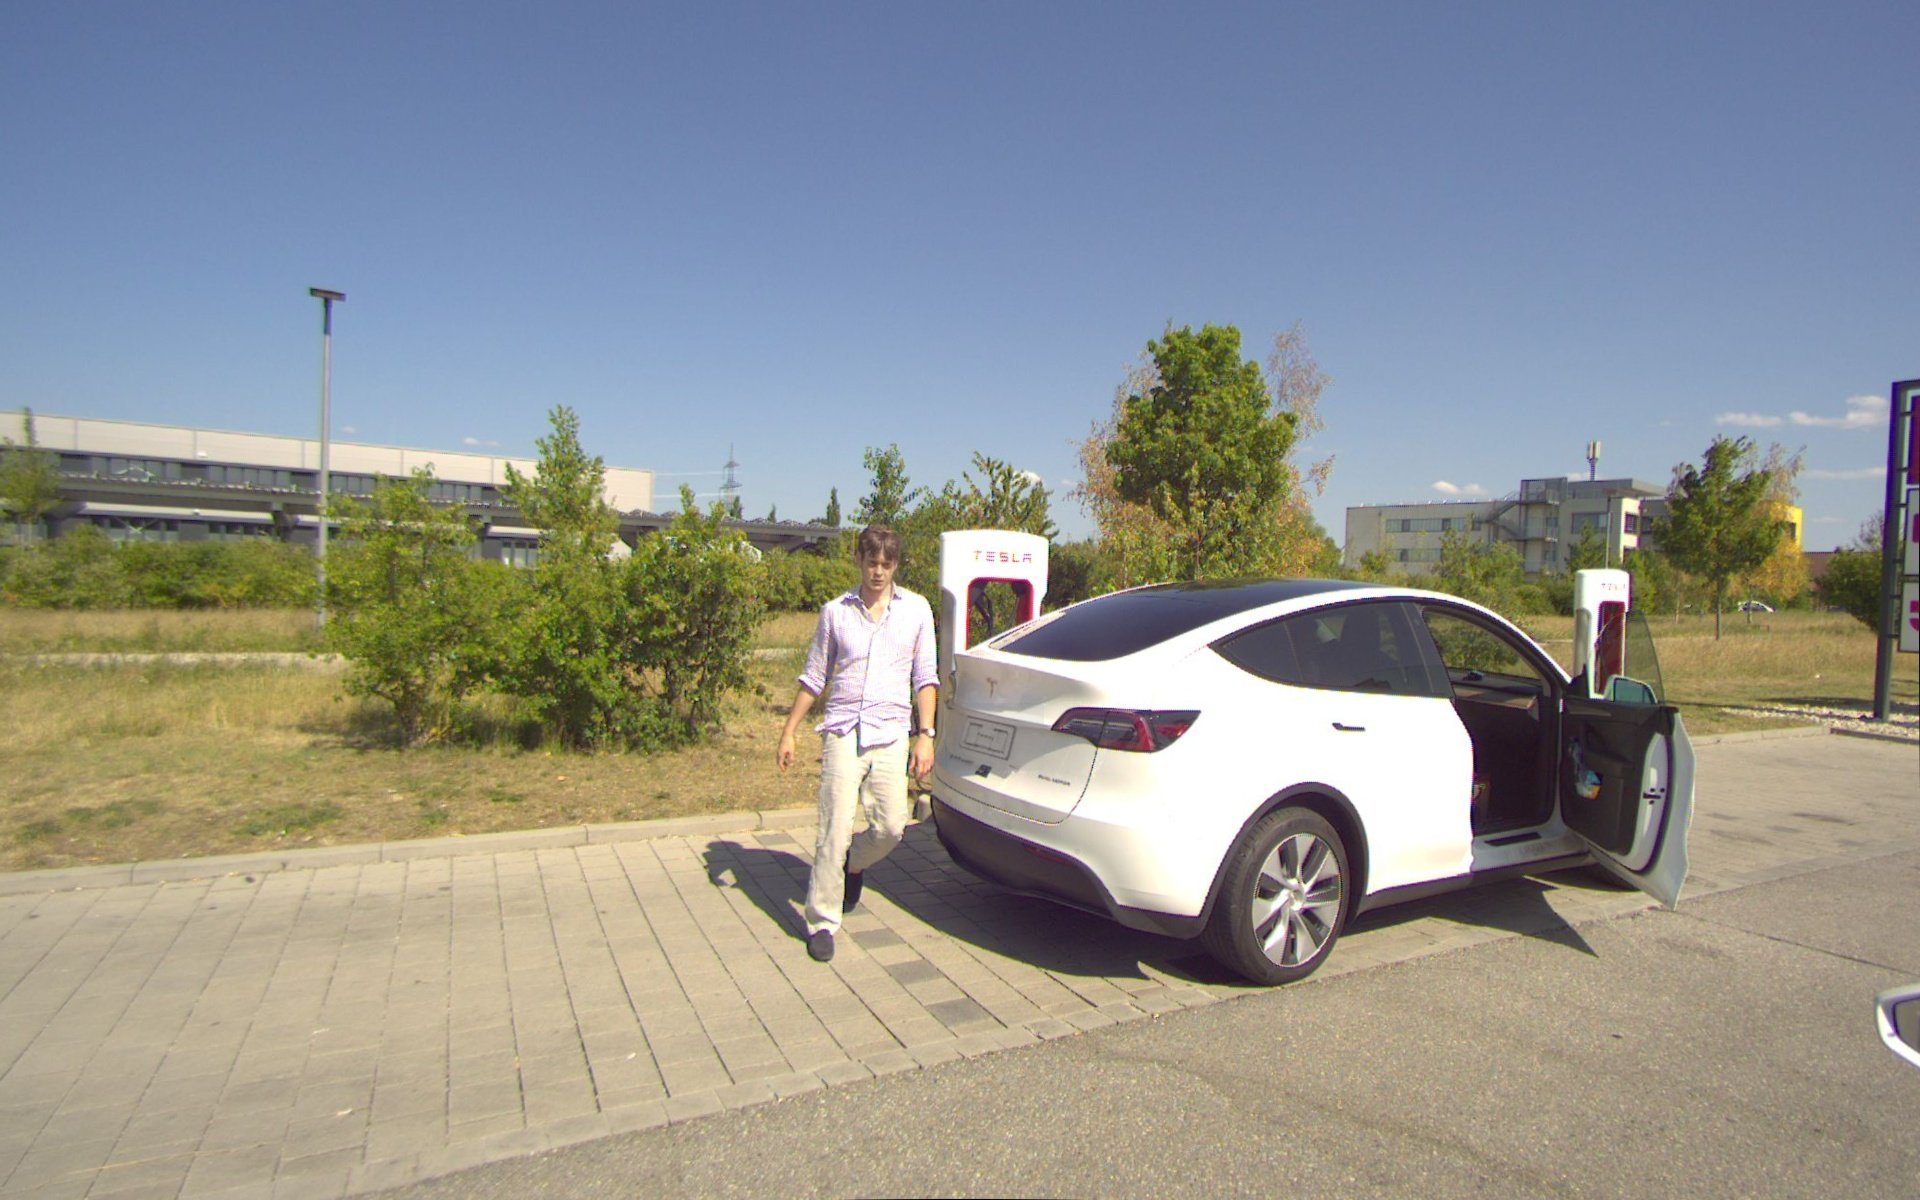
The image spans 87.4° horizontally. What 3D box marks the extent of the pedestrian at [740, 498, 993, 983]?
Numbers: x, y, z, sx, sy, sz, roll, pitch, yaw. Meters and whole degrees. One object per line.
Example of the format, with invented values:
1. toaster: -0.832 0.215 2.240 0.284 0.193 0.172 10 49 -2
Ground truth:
1. pedestrian: -0.447 0.523 4.399 0.728 1.824 1.028 1 2 -28

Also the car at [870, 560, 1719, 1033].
1. car: 1.930 0.687 5.378 4.437 1.622 1.854 1 1 -31
